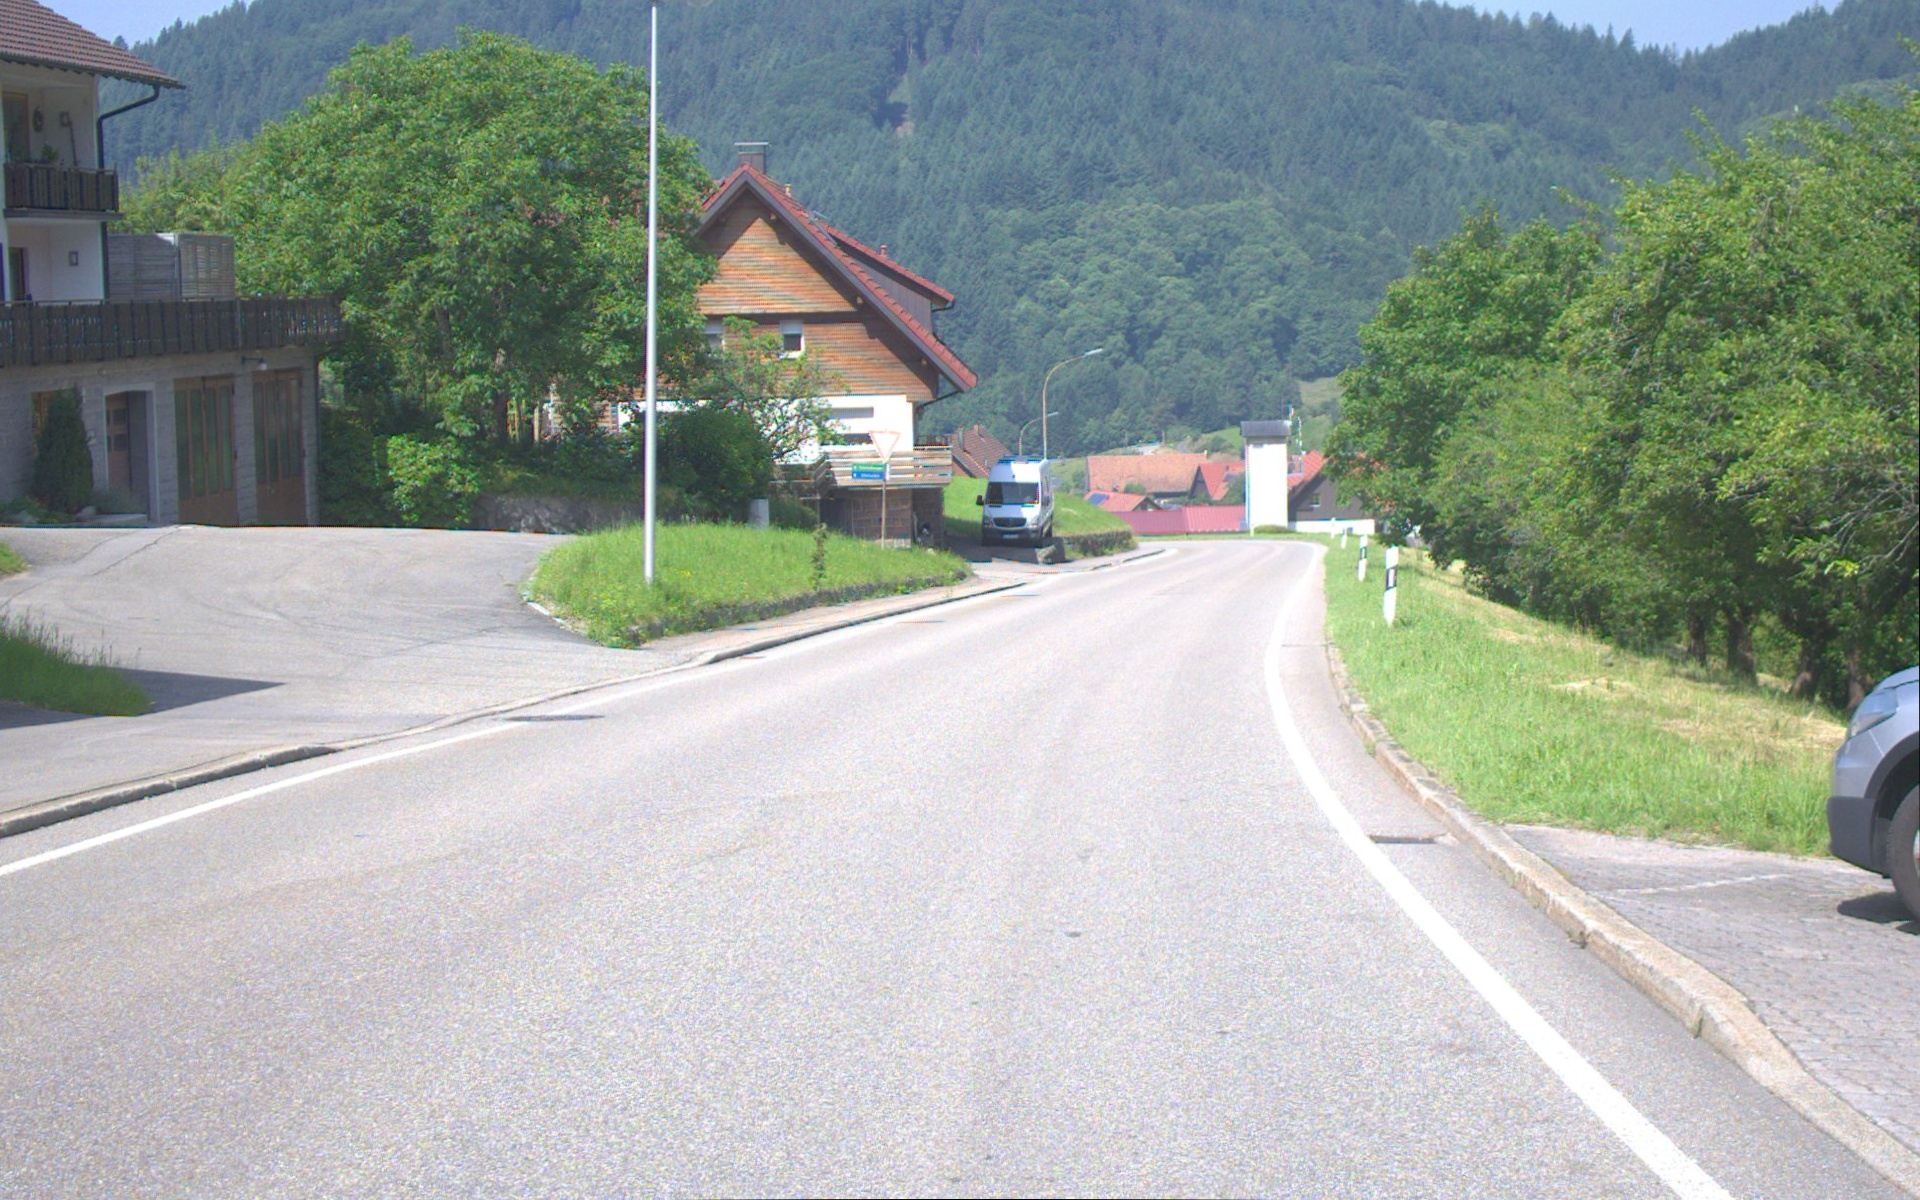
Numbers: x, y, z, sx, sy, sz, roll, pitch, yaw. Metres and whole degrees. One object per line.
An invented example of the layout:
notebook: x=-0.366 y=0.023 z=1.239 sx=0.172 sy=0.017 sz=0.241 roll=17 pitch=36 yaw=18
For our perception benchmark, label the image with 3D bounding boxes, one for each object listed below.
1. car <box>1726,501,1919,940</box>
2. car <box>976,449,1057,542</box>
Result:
car: x=5.060 y=0.491 z=11.900 sx=1.900 sy=1.565 sz=4.461 roll=0 pitch=2 yaw=-39
car: x=1.911 y=-3.489 z=113.270 sx=2.068 sy=2.679 sz=7.174 roll=-1 pitch=5 yaw=5
